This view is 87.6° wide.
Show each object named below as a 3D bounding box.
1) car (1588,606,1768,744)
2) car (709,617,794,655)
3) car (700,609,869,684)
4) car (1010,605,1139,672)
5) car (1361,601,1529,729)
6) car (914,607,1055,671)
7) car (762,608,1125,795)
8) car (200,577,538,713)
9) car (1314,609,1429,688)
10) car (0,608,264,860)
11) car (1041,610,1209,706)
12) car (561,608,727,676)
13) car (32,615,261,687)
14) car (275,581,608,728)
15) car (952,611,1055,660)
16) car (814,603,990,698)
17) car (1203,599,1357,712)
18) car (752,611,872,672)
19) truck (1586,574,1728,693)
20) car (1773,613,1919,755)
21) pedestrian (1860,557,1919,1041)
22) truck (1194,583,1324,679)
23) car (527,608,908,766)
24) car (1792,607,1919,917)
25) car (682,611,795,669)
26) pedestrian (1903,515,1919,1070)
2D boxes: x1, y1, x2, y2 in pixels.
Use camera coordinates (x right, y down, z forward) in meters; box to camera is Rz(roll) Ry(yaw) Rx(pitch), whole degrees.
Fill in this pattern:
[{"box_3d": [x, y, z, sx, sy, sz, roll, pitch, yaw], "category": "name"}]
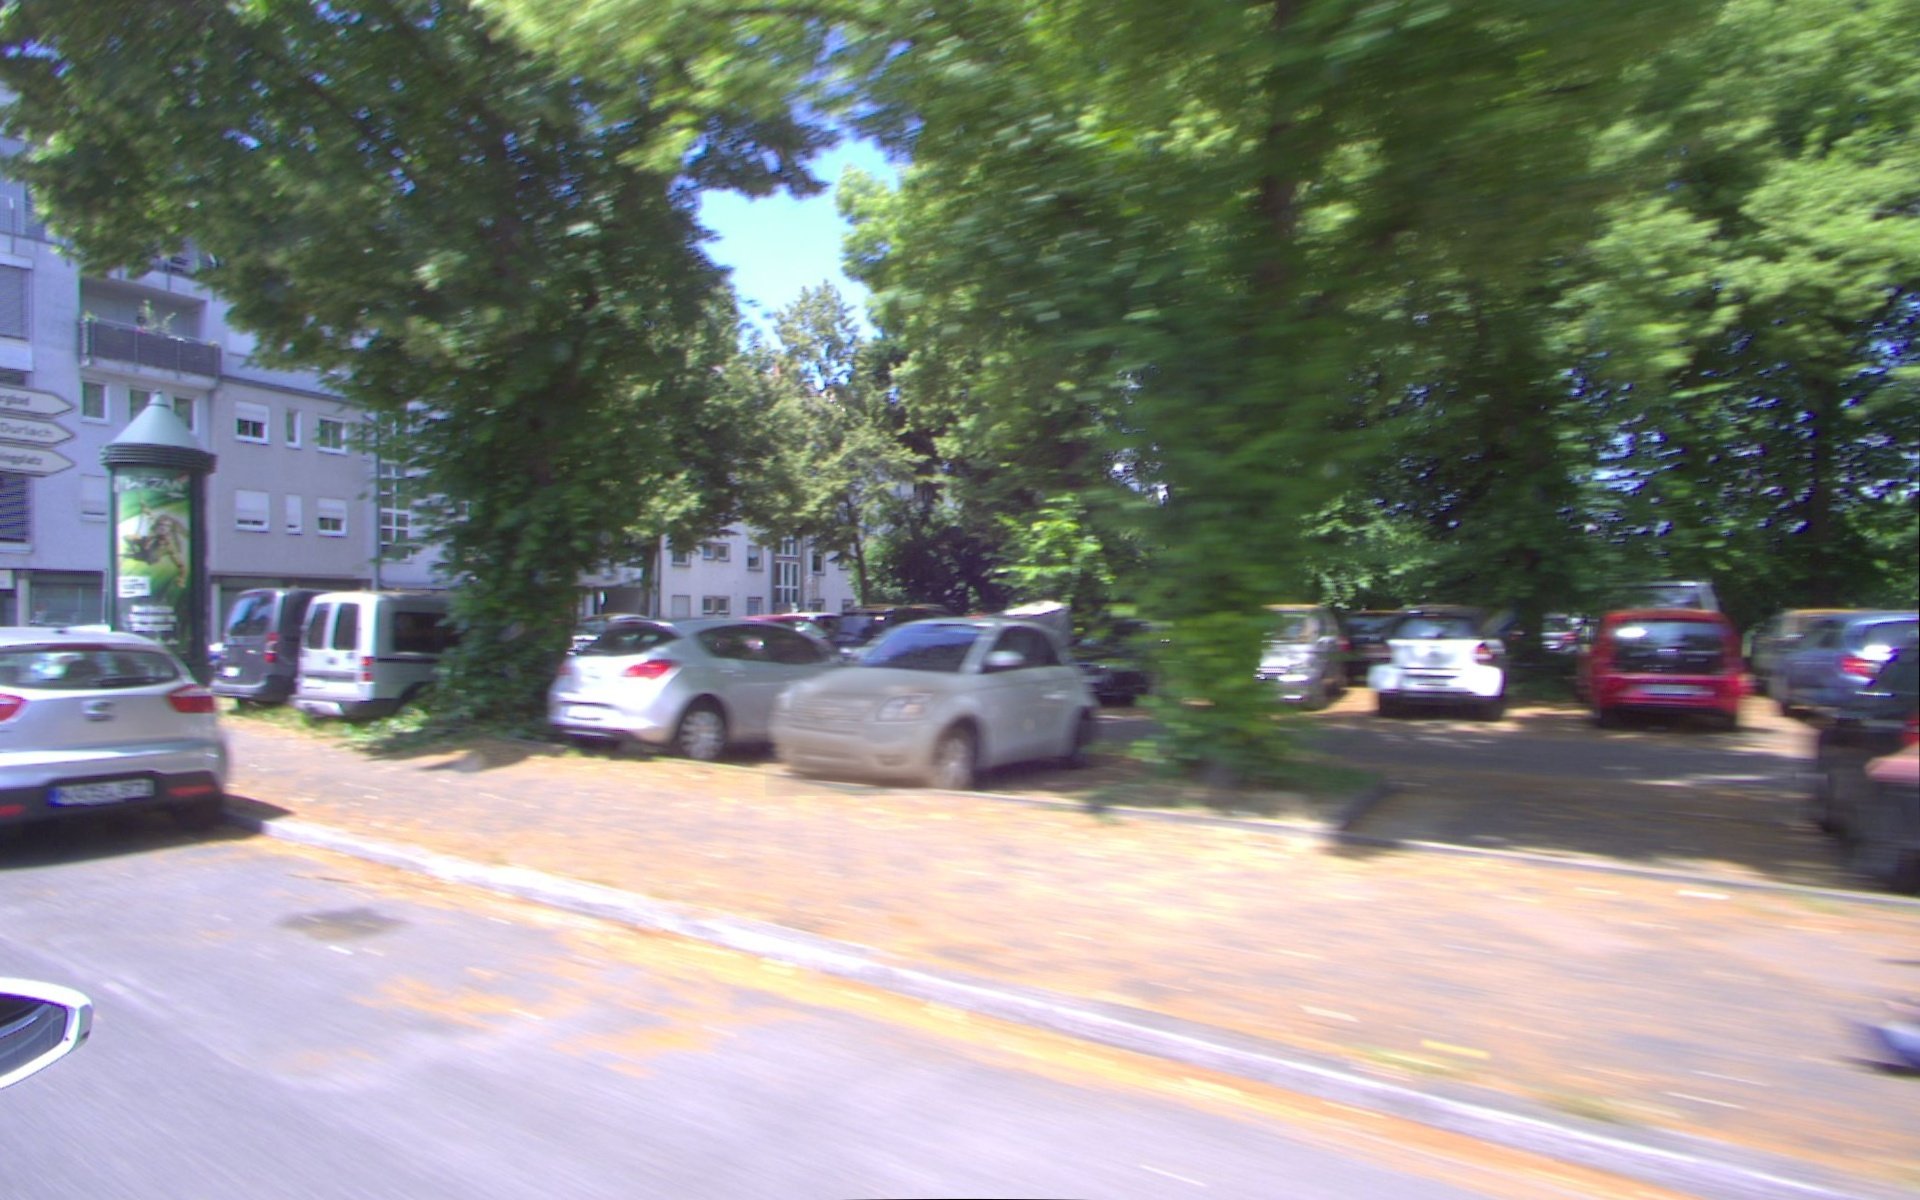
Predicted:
[{"box_3d": [9.794, 0.898, 13.843, 1.780, 1.607, 3.977, 0, 0, 34], "category": "car"}, {"box_3d": [-10.066, 1.742, 48.678, 1.602, 1.757, 4.369, 0, -2, 28], "category": "car"}, {"box_3d": [-3.908, 0.994, 22.948, 1.656, 1.548, 3.981, 0, 0, 30], "category": "car"}, {"box_3d": [2.842, 0.870, 24.179, 1.712, 1.478, 3.792, 0, -1, 31], "category": "car"}, {"box_3d": [7.507, 0.866, 15.306, 1.780, 1.684, 3.977, 0, 0, 34], "category": "car"}, {"box_3d": [0.707, 1.010, 25.557, 1.667, 1.486, 3.891, 0, -2, 36], "category": "car"}, {"box_3d": [0.063, 0.919, 9.903, 1.645, 1.445, 3.982, 0, -4, 33], "category": "car"}, {"box_3d": [-8.806, 0.657, 15.267, 1.987, 1.773, 3.981, 0, -2, 31], "category": "car"}, {"box_3d": [8.584, 0.933, 20.728, 1.712, 1.478, 3.792, 0, -1, 30], "category": "car"}, {"box_3d": [-7.056, 0.836, 7.449, 3.836, 1.504, 1.763, -1, -2, 33], "category": "car"}, {"box_3d": [3.056, 0.936, 17.872, 1.656, 1.503, 3.981, 0, 0, 30], "category": "car"}, {"box_3d": [-7.972, 1.001, 25.628, 1.656, 1.574, 3.981, 0, 0, 30], "category": "car"}, {"box_3d": [-19.407, 1.182, 24.082, 1.547, 1.574, 3.984, 0, -2, 29], "category": "car"}, {"box_3d": [-6.795, 0.656, 13.529, 1.638, 1.689, 3.761, 0, -1, 28], "category": "car"}, {"box_3d": [1.624, 1.262, 36.492, 1.701, 1.689, 3.768, -2, -2, 44], "category": "car"}, {"box_3d": [-1.061, 0.929, 20.189, 1.676, 1.701, 3.982, 0, 0, 29], "category": "car"}, {"box_3d": [5.501, 0.830, 16.884, 1.656, 1.662, 3.981, 0, 0, 30], "category": "car"}, {"box_3d": [-4.058, 1.094, 27.876, 1.567, 1.574, 3.375, 0, 0, 30], "category": "car"}, {"box_3d": [12.219, 0.540, 17.655, 1.853, 1.838, 4.110, 0, 0, 34], "category": "truck"}, {"box_3d": [11.440, 0.930, 12.393, 1.780, 1.492, 3.977, 0, 0, 34], "category": "car"}, {"box_3d": [3.641, 0.669, 3.428, 0.726, 1.614, 0.616, 0, -1, 32], "category": "pedestrian"}, {"box_3d": [6.636, 0.642, 21.994, 1.714, 1.906, 3.788, 0, 0, 34], "category": "truck"}, {"box_3d": [-2.476, 0.854, 11.138, 1.783, 1.416, 3.979, 0, -2, 34], "category": "car"}, {"box_3d": [6.387, 0.866, 6.035, 1.693, 1.491, 3.979, 0, -3, 34], "category": "car"}, {"box_3d": [-6.383, 1.122, 29.101, 1.567, 1.574, 3.058, 0, 0, 30], "category": "car"}, {"box_3d": [3.328, 0.611, 2.916, 0.726, 1.787, 0.616, 0, -1, 32], "category": "pedestrian"}]
